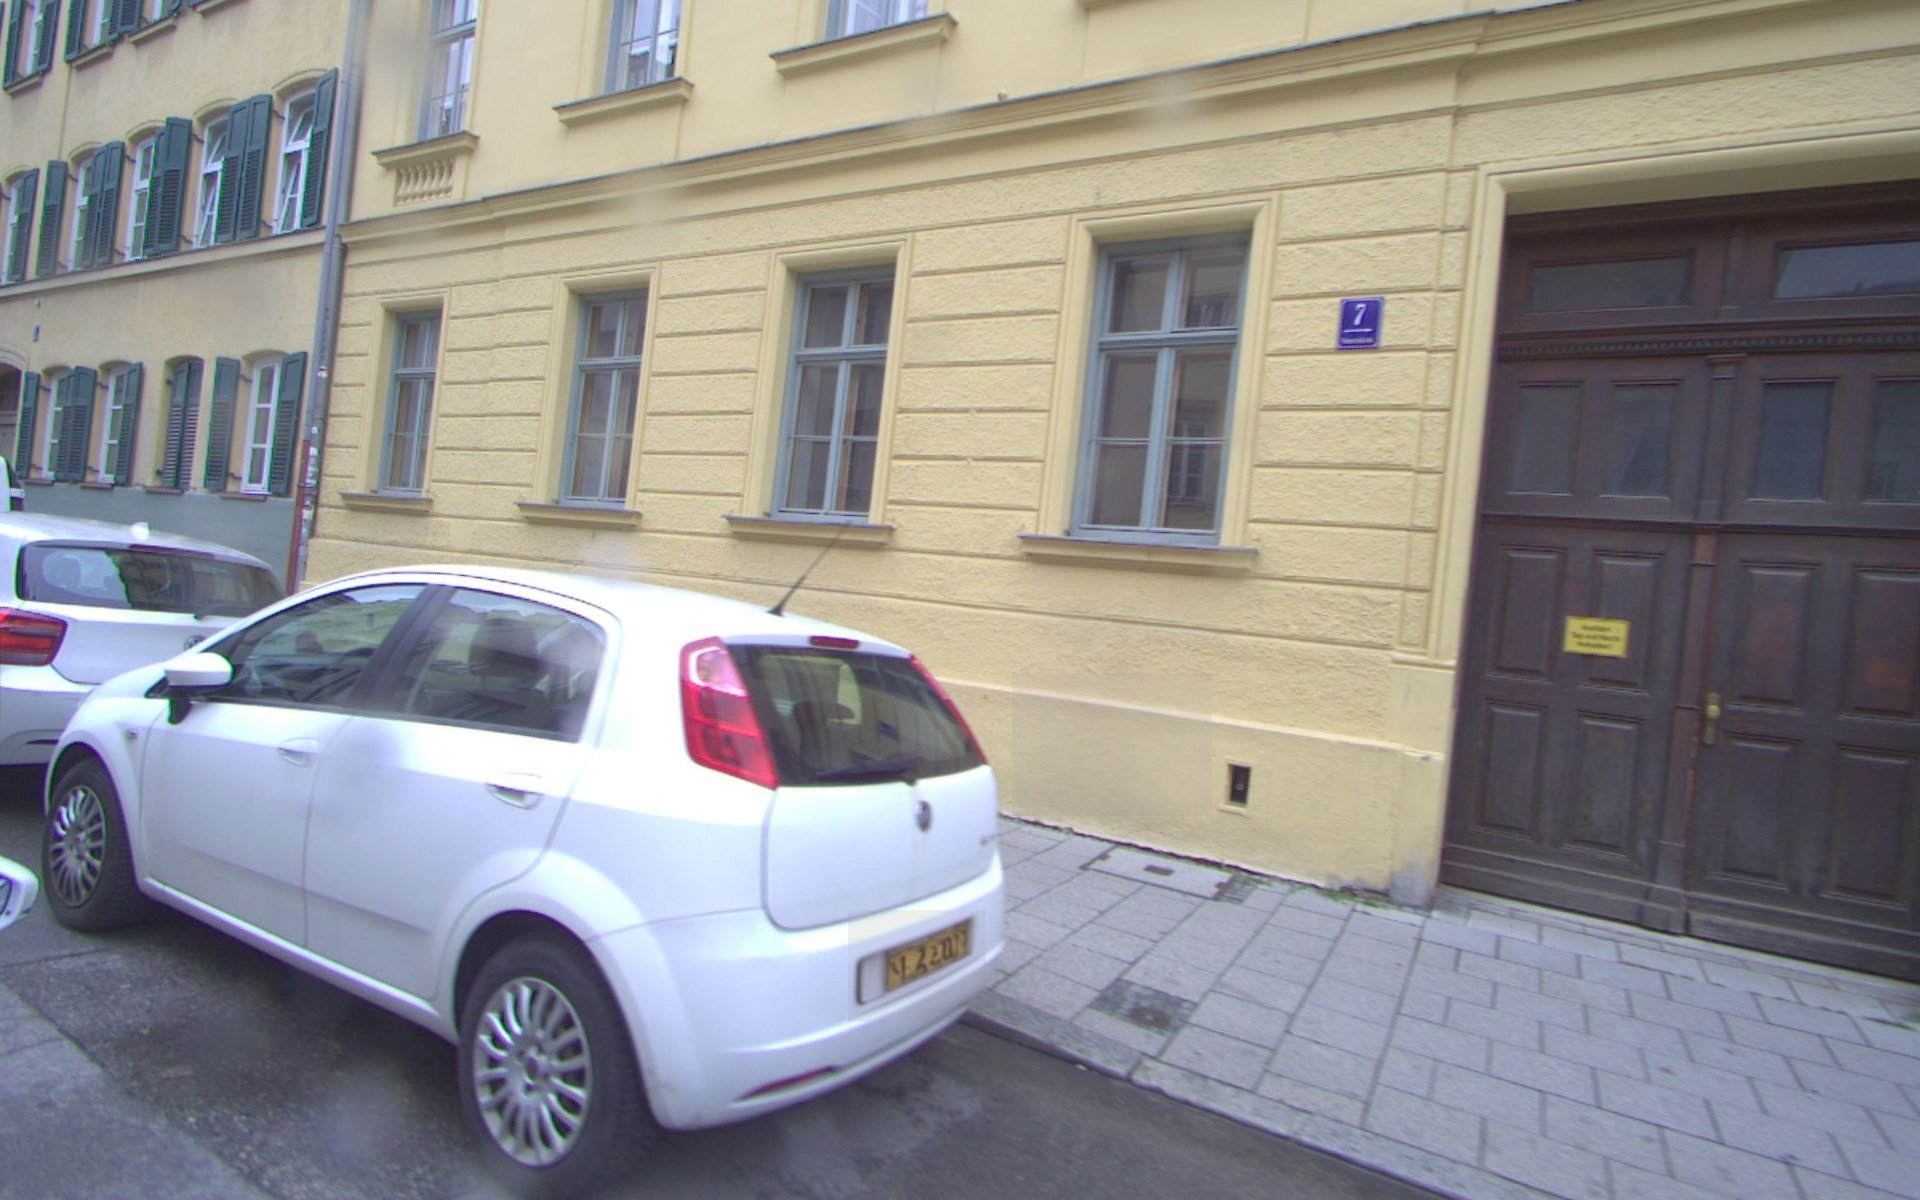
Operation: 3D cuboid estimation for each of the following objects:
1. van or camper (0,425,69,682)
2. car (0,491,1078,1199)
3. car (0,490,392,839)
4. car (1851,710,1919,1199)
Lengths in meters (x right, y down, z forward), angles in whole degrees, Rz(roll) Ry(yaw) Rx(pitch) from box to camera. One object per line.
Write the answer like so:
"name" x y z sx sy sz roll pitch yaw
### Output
"van or camper" -10.191 -0.660 8.709 5.143 2.038 1.997 6 0 29
"car" -1.667 0.581 3.670 3.697 1.528 1.626 6 -1 29
"car" -5.797 0.129 6.144 4.508 1.528 1.820 6 -1 28
"car" 3.686 1.169 0.592 4.393 1.528 1.720 6 -1 30
